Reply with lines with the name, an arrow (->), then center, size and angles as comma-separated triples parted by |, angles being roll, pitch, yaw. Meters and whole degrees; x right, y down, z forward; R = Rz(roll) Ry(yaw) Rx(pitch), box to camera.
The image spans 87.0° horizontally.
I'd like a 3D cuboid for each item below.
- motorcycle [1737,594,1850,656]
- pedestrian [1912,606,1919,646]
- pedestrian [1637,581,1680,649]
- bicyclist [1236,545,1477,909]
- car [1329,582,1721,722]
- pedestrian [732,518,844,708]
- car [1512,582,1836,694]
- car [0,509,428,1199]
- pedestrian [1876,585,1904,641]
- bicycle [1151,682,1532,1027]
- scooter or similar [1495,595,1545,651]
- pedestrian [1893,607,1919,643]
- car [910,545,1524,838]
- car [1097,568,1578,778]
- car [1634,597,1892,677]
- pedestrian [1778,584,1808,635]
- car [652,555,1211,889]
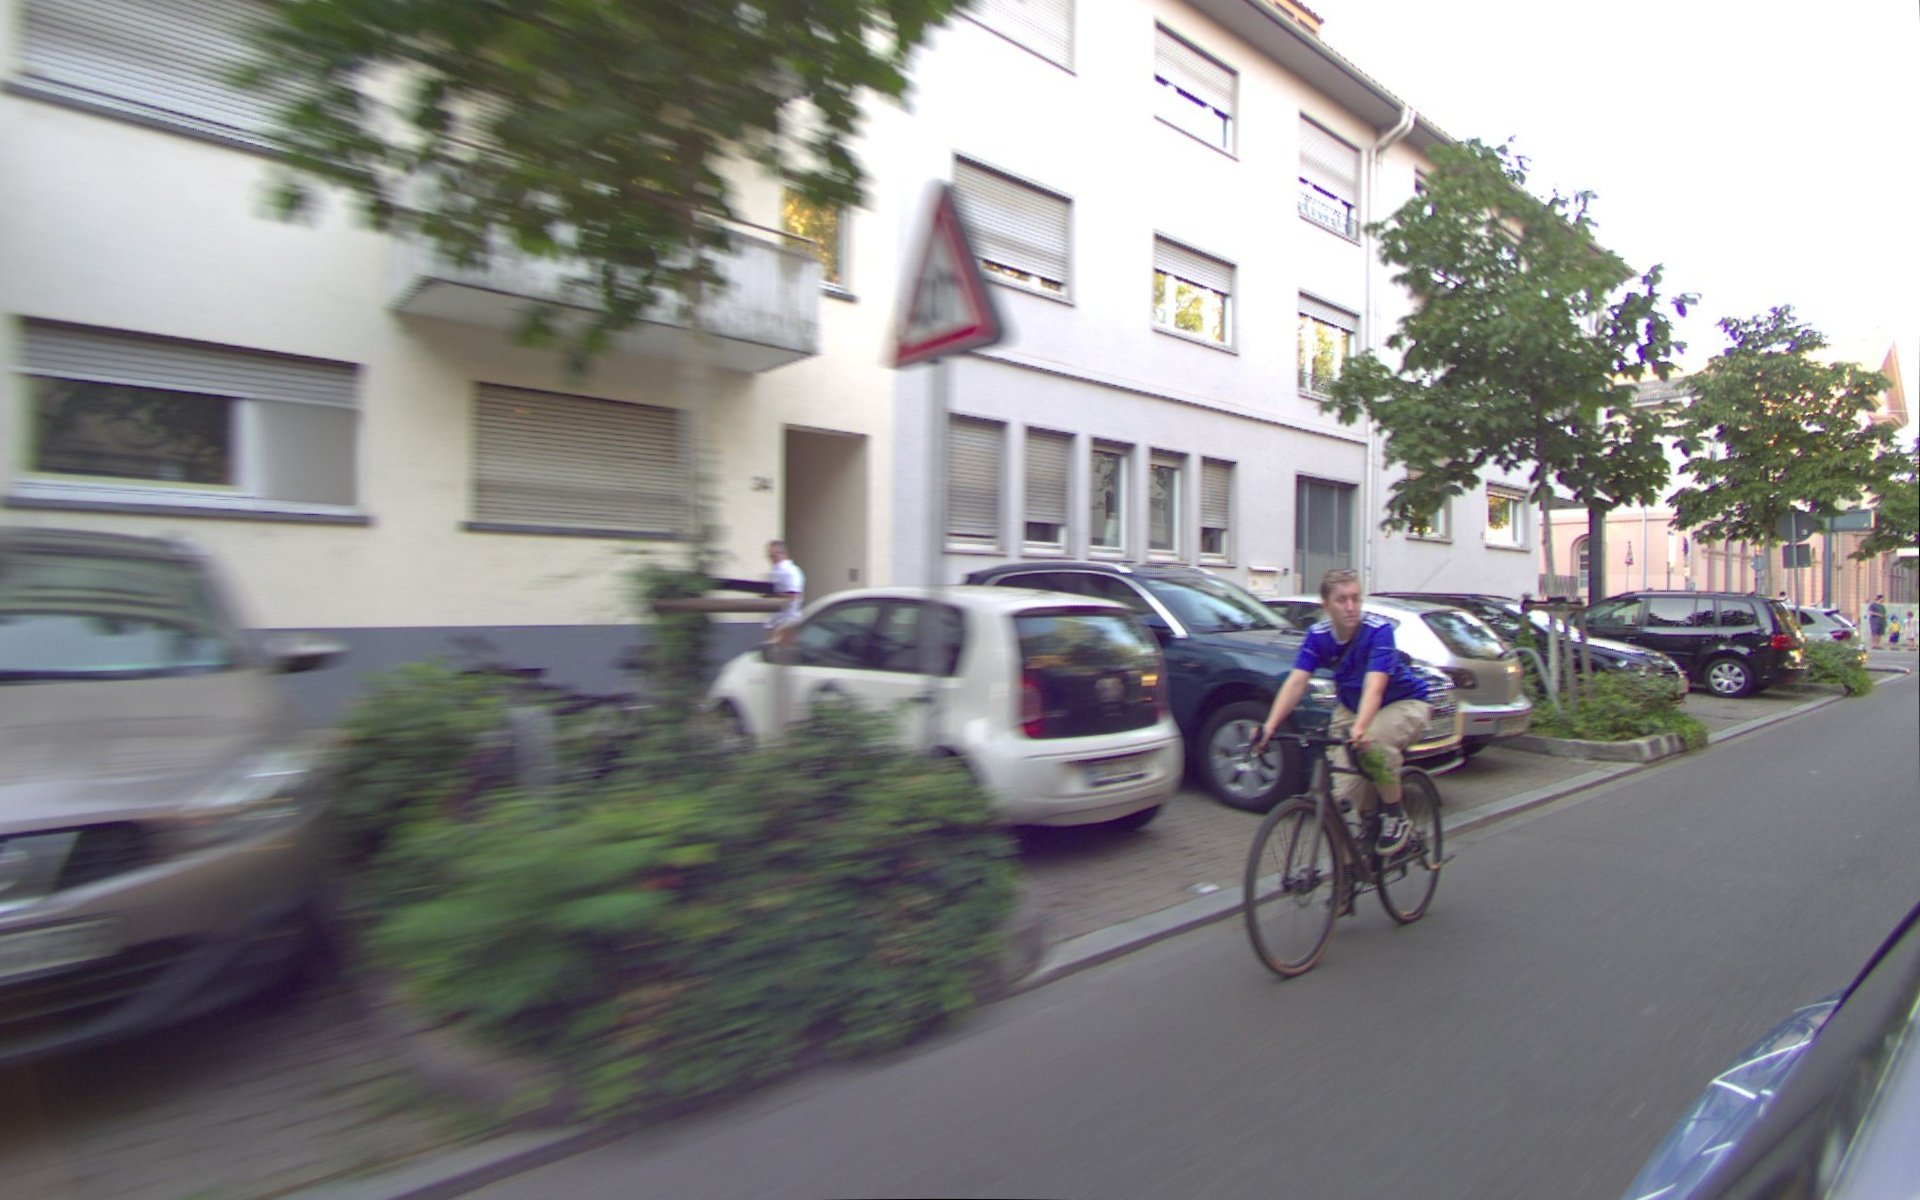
motorcycle -> 20.569, 0.589, 25.011 | 0.979, 1.410, 1.917 | 0, 1, -27
pedestrian -> 31.346, 0.862, 32.944 | 0.450, 1.277, 0.482 | 3, 2, 43
pedestrian -> 19.195, 0.398, 27.823 | 1.046, 1.818, 0.698 | 1, 0, -40
bicyclist -> 1.702, 0.488, 4.356 | 0.763, 1.381, 0.673 | 1, -2, -40
car -> 7.519, 0.570, 13.832 | 1.763, 1.514, 4.323 | 0, 2, -41
pedestrian -> -1.742, 0.121, 10.242 | 0.865, 1.818, 0.698 | 1, 0, -40
car -> 11.898, 0.533, 17.083 | 1.926, 1.638, 4.118 | 1, 0, -39
car -> -3.545, 0.473, 3.841 | 1.819, 1.597, 3.974 | 0, 4, -41
pedestrian -> 30.962, 0.429, 33.691 | 0.565, 1.796, 0.544 | 1, 2, -39
bicycle -> 1.702, 0.936, 4.335 | 1.942, 1.043, 0.673 | 1, -2, -41
scooter or similar -> 12.837, 0.522, 23.199 | 1.392, 1.255, 0.347 | 1, 0, -31
pedestrian -> 31.479, 0.833, 33.576 | 0.535, 1.159, 0.493 | 2, 1, -3
car -> 1.782, 0.451, 8.362 | 1.910, 1.597, 4.600 | 0, 4, -41
car -> 3.476, 0.521, 10.011 | 1.785, 1.446, 4.087 | 0, 4, -38
car -> 16.765, 0.705, 21.281 | 1.762, 1.456, 3.995 | 1, 0, -39
pedestrian -> 31.517, 0.363, 38.278 | 1.031, 1.878, 0.698 | 1, 1, -42
car -> -0.441, 0.517, 6.777 | 1.668, 1.440, 3.801 | 0, 4, -41
